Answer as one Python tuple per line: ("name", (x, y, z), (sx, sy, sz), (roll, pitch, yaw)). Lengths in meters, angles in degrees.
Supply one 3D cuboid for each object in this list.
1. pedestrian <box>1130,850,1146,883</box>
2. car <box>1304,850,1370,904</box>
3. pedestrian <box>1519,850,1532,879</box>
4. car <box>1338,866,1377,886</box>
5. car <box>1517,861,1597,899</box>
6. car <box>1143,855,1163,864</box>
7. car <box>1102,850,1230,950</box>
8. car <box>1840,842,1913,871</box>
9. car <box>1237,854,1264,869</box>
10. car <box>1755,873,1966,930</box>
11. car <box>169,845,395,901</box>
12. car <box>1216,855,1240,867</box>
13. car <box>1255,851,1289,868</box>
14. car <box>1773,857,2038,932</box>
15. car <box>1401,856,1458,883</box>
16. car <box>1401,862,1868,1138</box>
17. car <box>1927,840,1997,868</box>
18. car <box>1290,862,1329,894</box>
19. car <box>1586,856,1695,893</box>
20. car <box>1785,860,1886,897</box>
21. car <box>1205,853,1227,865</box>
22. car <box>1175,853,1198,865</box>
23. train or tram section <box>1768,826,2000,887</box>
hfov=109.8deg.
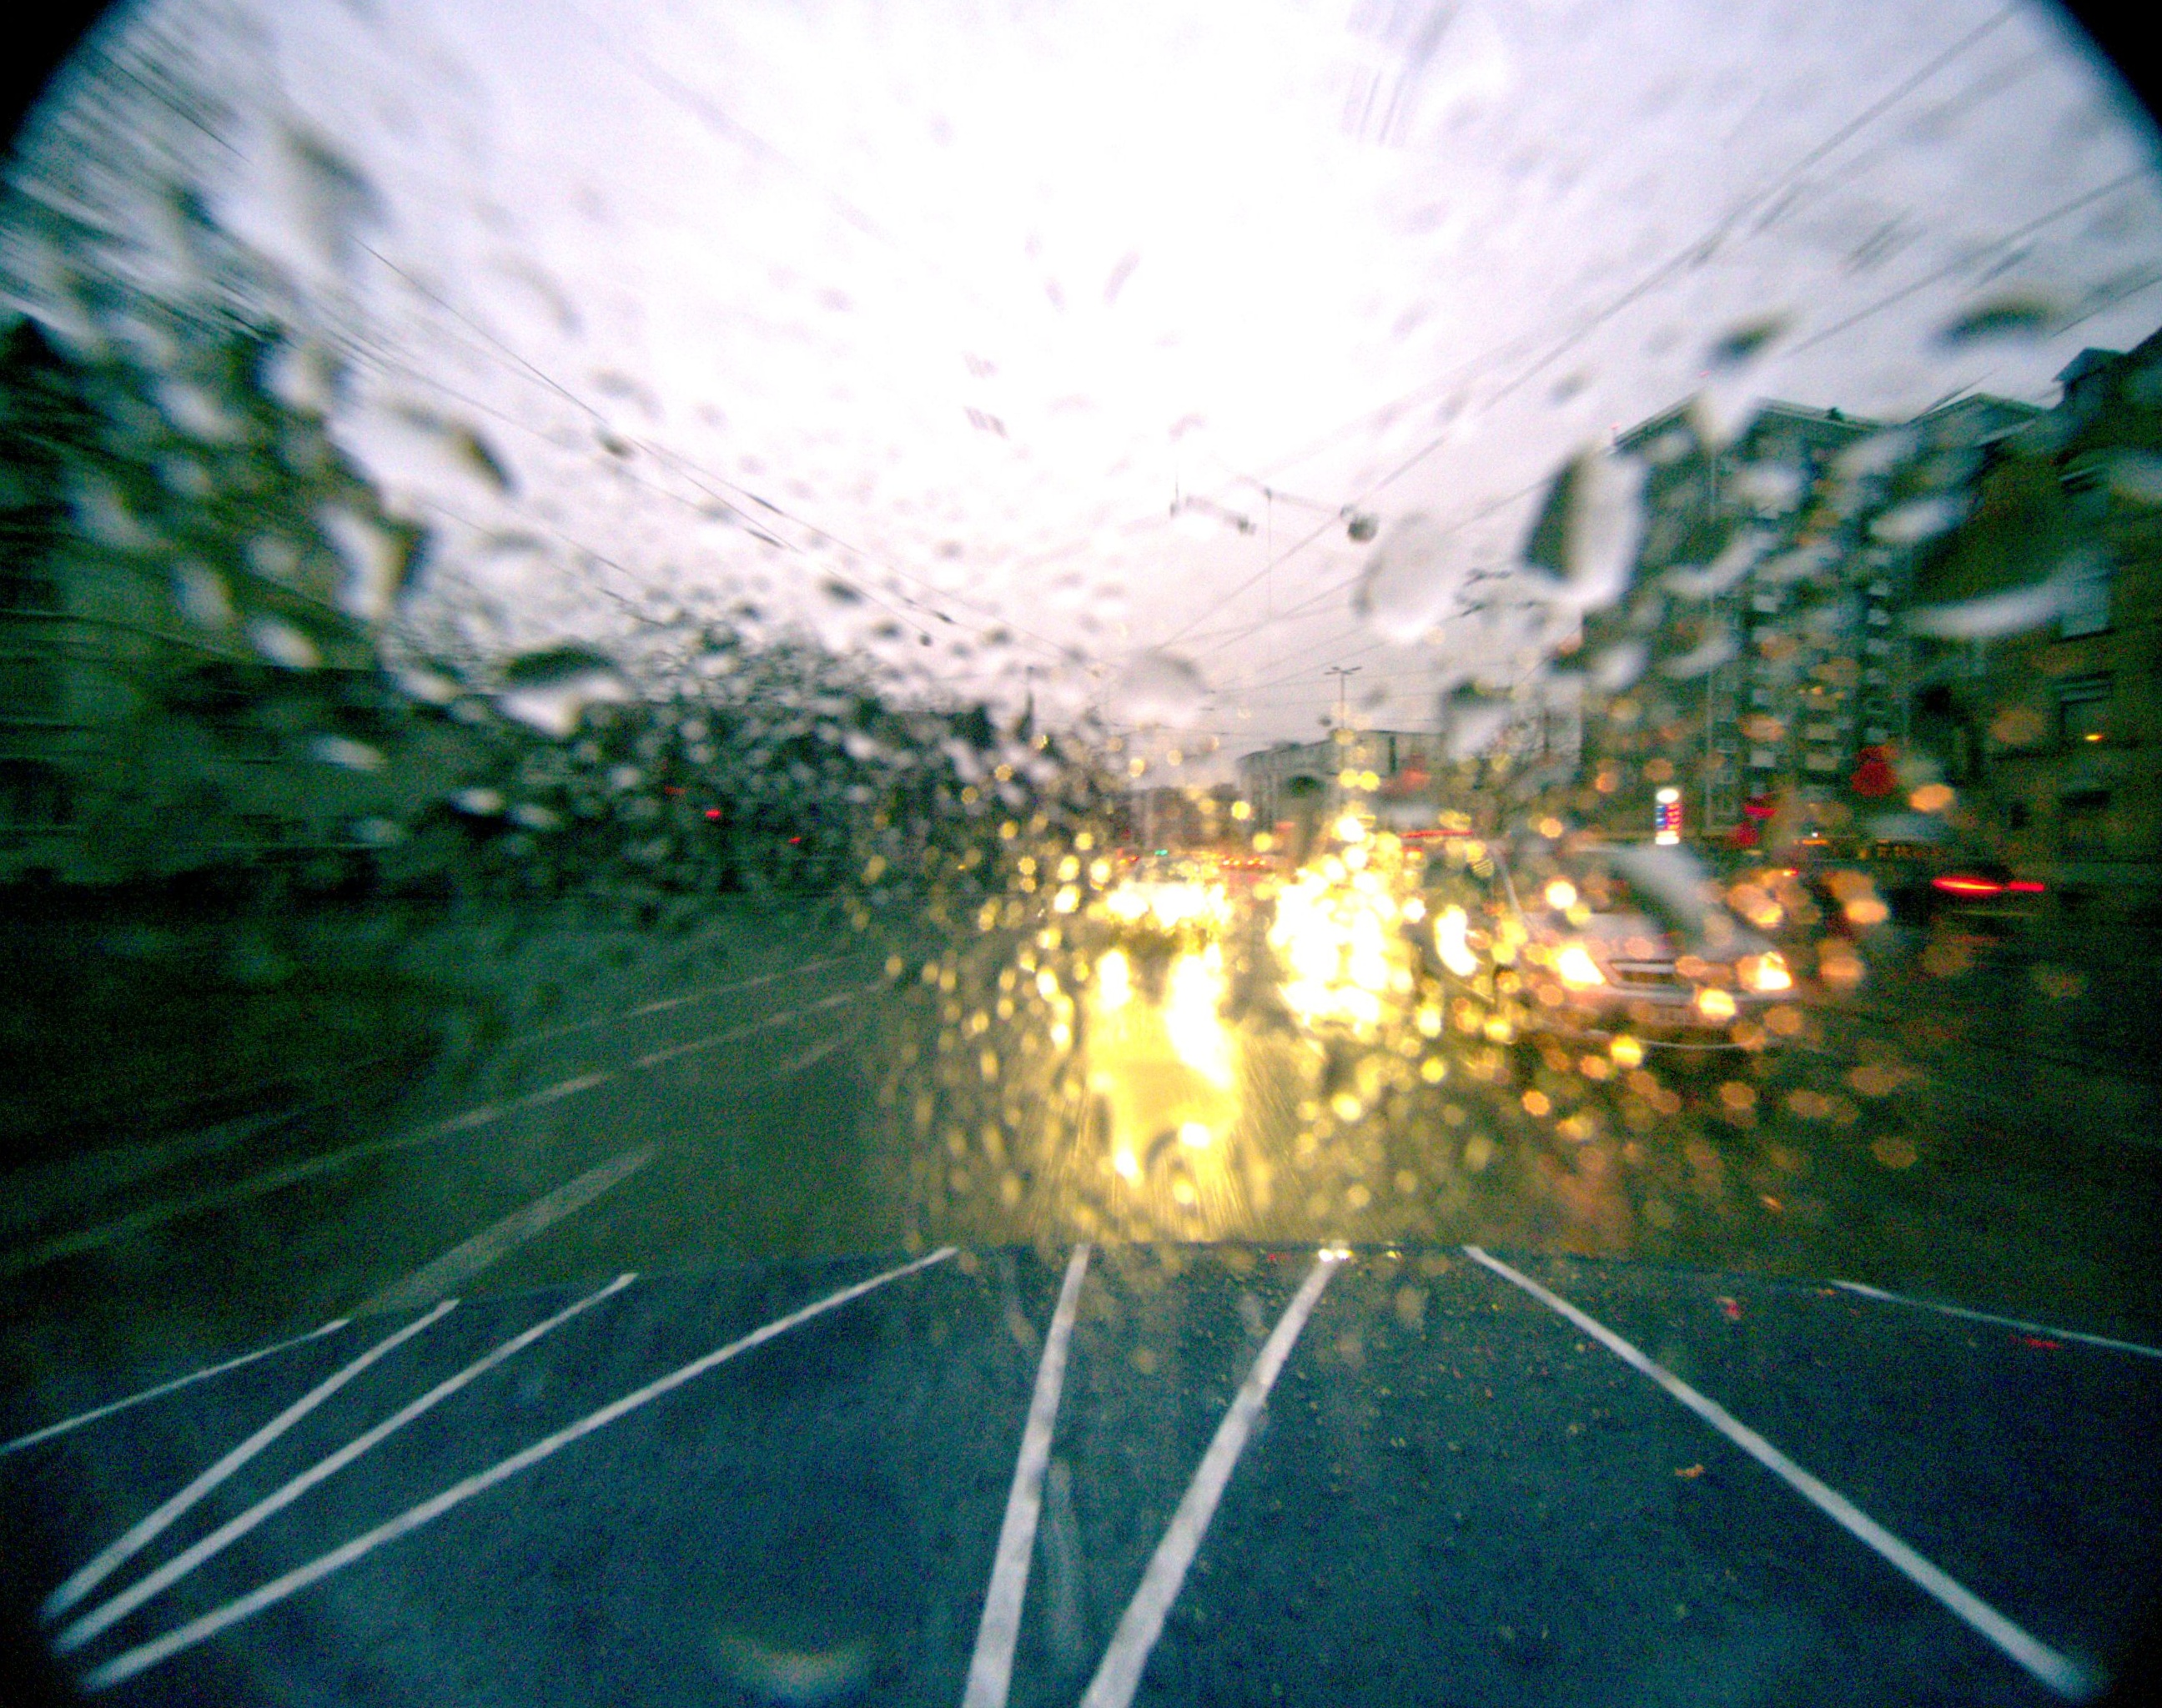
("pedestrian", (3.260, 0.734, 43.426), (0.573, 1.828, 0.684), (6, 0, 16))
("car", (8.082, 0.688, 24.273), (1.750, 1.535, 4.005), (1, 0, 16))
("pedestrian", (27.073, 0.640, 46.272), (0.467, 1.762, 0.629), (0, 1, 10))
("car", (21.525, 1.691, 59.222), (1.684, 1.449, 4.063), (0, 0, 3))
("car", (19.821, 1.050, 31.778), (1.490, 1.478, 3.154), (0, 0, 4))
("car", (12.202, 0.940, 129.043), (1.969, 1.505, 4.529), (1, 0, -12))
("car", (1.723, 0.733, 14.268), (1.647, 1.575, 3.809), (0, 1, 18))
("car", (56.507, 0.152, 53.987), (4.002, 2.002, 1.997), (-1, 1, -16))
("car", (19.864, 0.866, 89.056), (1.650, 1.620, 4.657), (1, 0, -7))
("car", (22.256, 1.283, 21.991), (1.684, 1.346, 4.388), (0, 0, 2))
("car", (-24.916, 0.580, 23.903), (4.515, 1.660, 1.997), (1, 0, -14))
("car", (18.645, 0.884, 96.785), (1.651, 1.478, 4.141), (1, 0, -9))
("car", (23.094, 0.682, 92.075), (2.000, 1.934, 4.849), (3, 0, -10))
("car", (19.216, 0.860, 18.028), (1.685, 1.544, 4.120), (0, 0, -3))
("car", (20.621, 0.893, 45.159), (1.683, 1.449, 4.336), (0, 0, 5))
("car", (4.104, 0.865, 6.551), (1.648, 1.539, 4.113), (0, 0, 11))
("car", (66.878, -0.028, 57.678), (4.002, 2.002, 1.997), (-1, 1, -16))
("car", (13.427, 1.369, 44.934), (1.817, 1.732, 4.190), (1, 0, 12))
("car", (22.562, 0.783, 30.823), (1.684, 1.384, 3.613), (0, 0, -2))
("car", (32.441, 1.022, 32.651), (4.234, 1.516, 1.682), (0, 0, -25))
("car", (16.499, 0.611, 92.969), (1.649, 1.441, 3.848), (0, 1, -8))
("car", (15.800, 0.708, 114.308), (1.969, 1.772, 4.529), (1, 0, -12))
("train or tram section", (46.709, 0.010, 44.006), (16.324, 3.170, 3.163), (-1, 1, -21))
